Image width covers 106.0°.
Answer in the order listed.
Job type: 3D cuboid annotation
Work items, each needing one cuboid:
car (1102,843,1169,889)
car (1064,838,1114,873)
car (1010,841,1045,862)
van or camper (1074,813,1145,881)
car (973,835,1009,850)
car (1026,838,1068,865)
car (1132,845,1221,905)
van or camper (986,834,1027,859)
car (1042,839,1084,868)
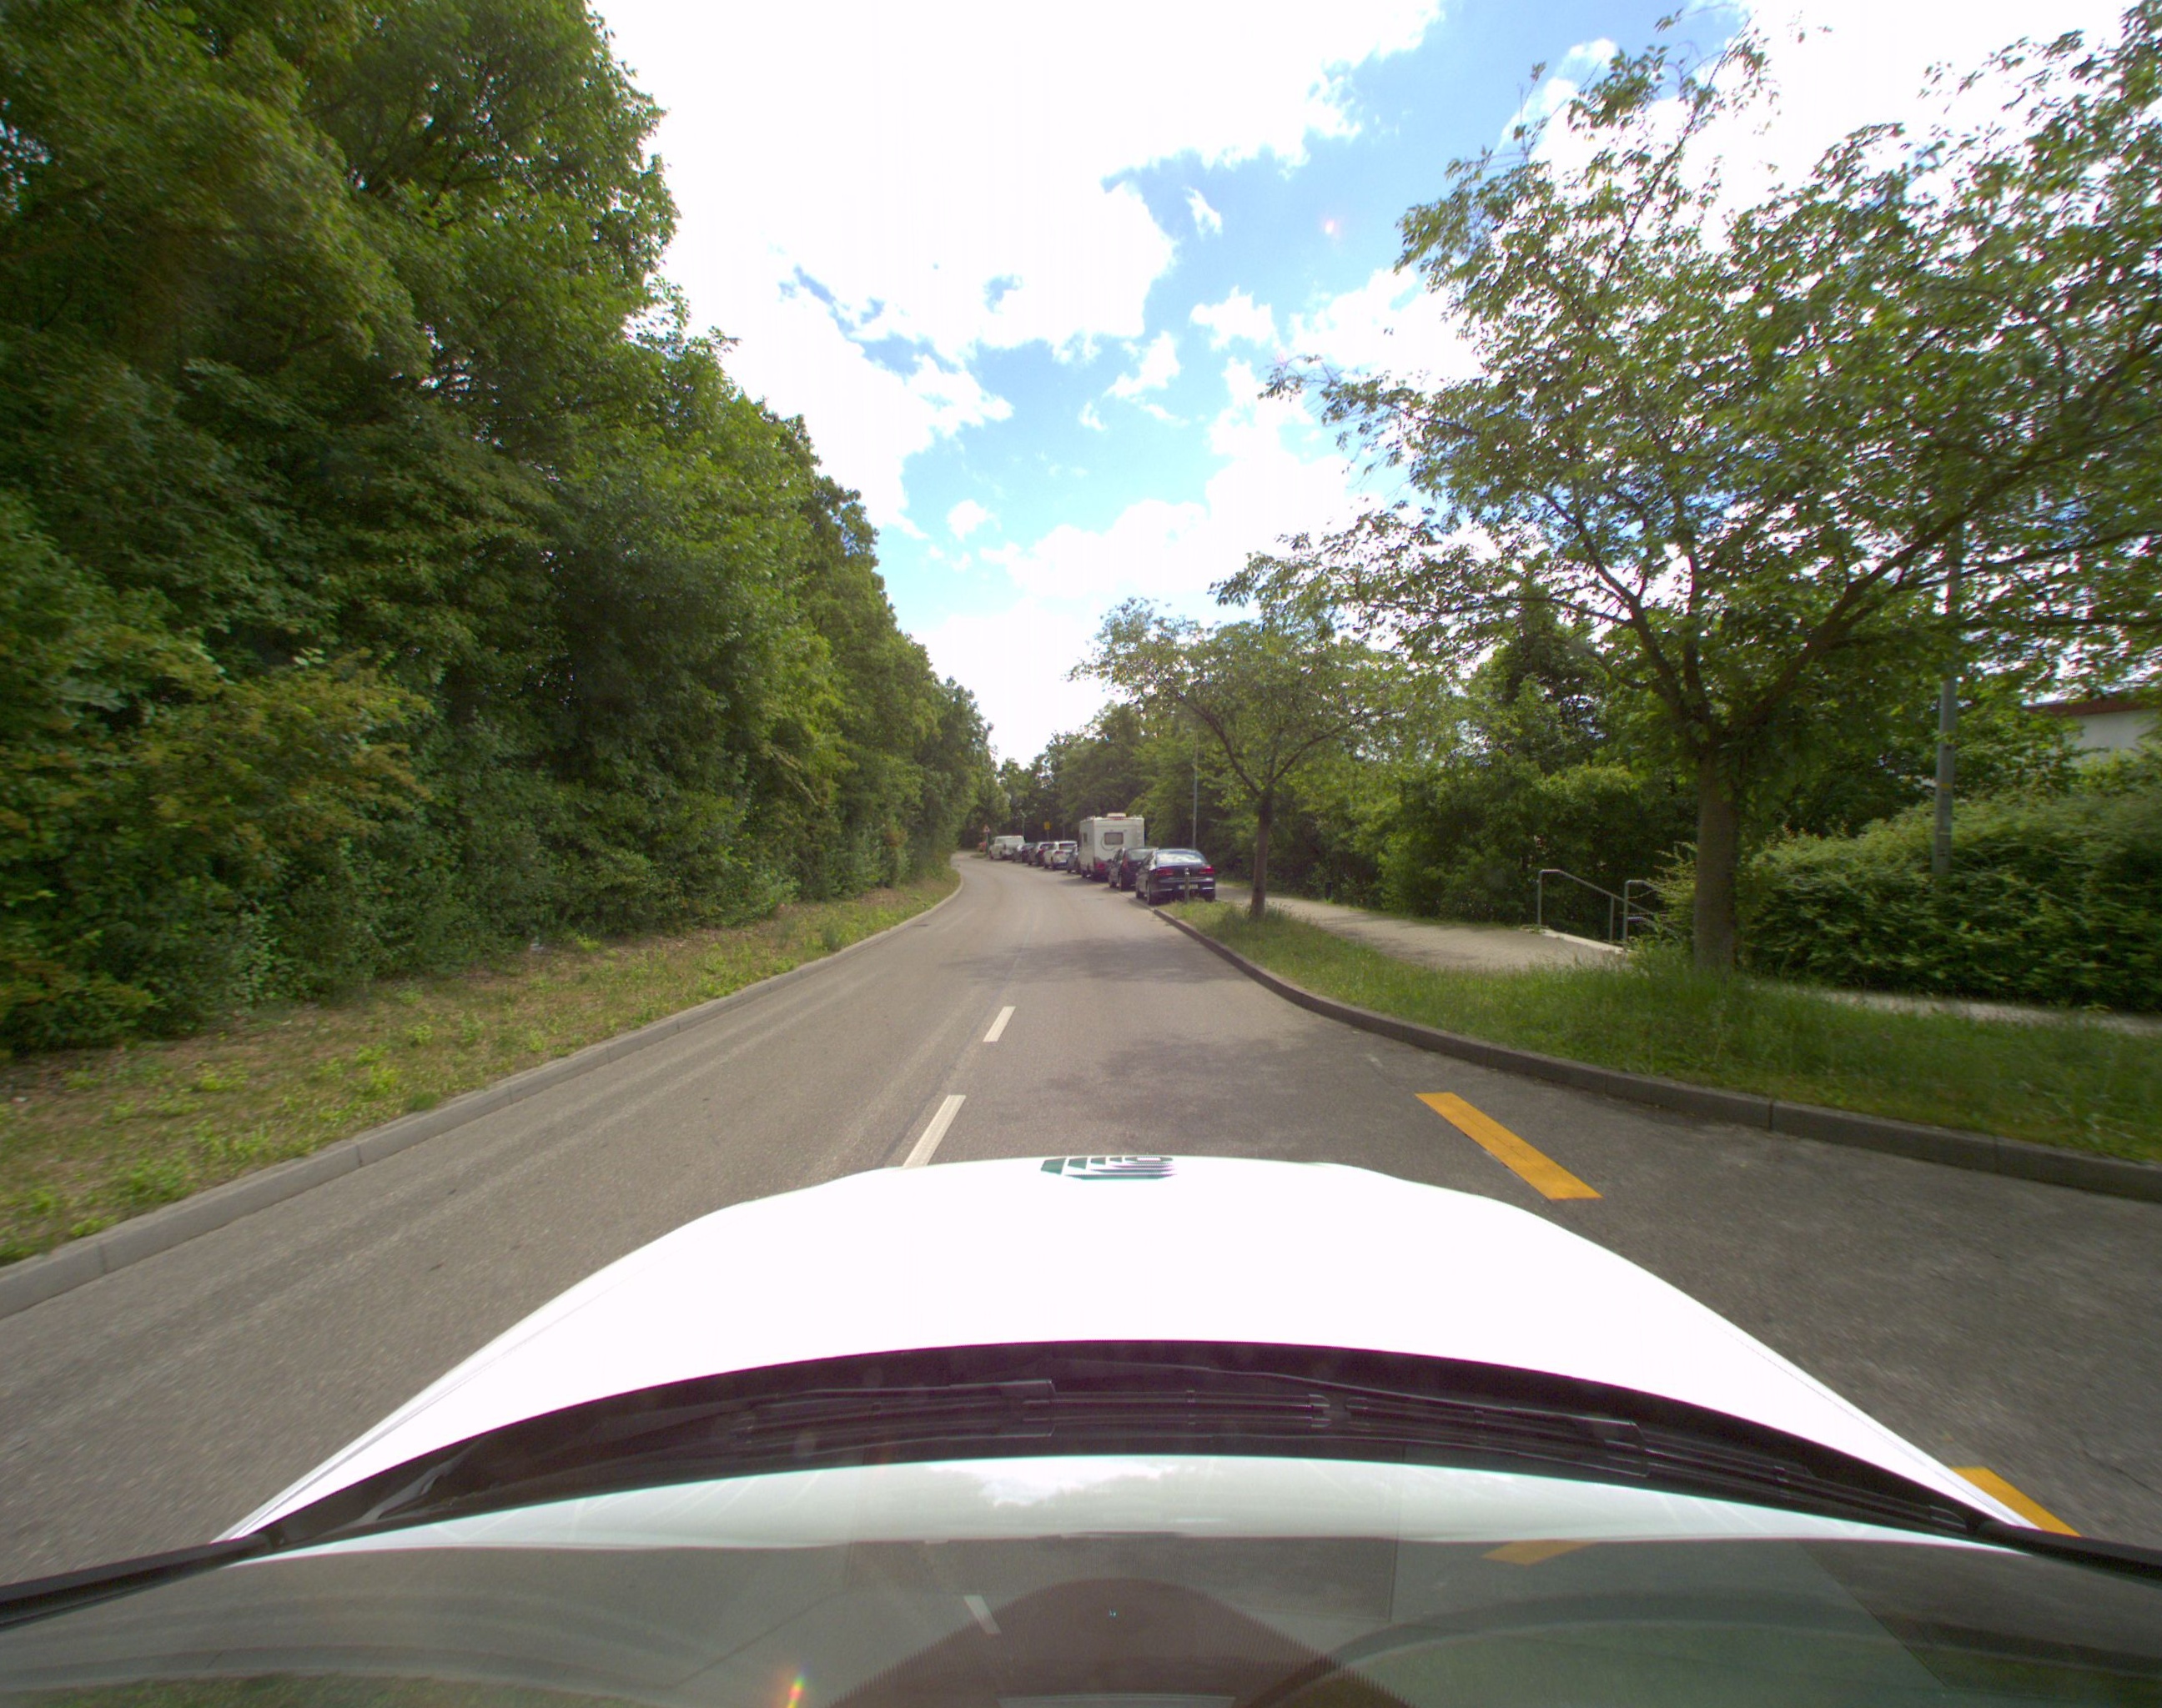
[{"bbox_3d":[1.929,0.411,29.923,1.727,1.519,3.880,-2,0,-7],"label":"car"},{"bbox_3d":[0.387,0.047,43.586,1.712,1.591,3.984,-8,2,-12],"label":"car"},{"bbox_3d":[-4.152,-0.227,62.807,1.803,1.464,3.976,-2,1,-18],"label":"car"},{"bbox_3d":[1.183,-0.337,37.490,2.330,2.869,6.136,0,1,-7],"label":"van or camper"},{"bbox_3d":[-9.733,-1.285,87.706,3.547,1.480,1.771,-2,3,-19],"label":"car"},{"bbox_3d":[-2.417,-0.212,56.255,1.997,1.626,4.258,-4,3,-14],"label":"car"},{"bbox_3d":[2.565,0.500,22.773,1.772,1.434,4.330,-2,1,-3],"label":"car"},{"bbox_3d":[-6.311,-0.665,68.352,2.001,1.919,5.228,-3,3,-22],"label":"van or camper"},{"bbox_3d":[-1.164,-0.055,50.576,1.873,1.689,4.562,0,1,-11],"label":"car"}]
